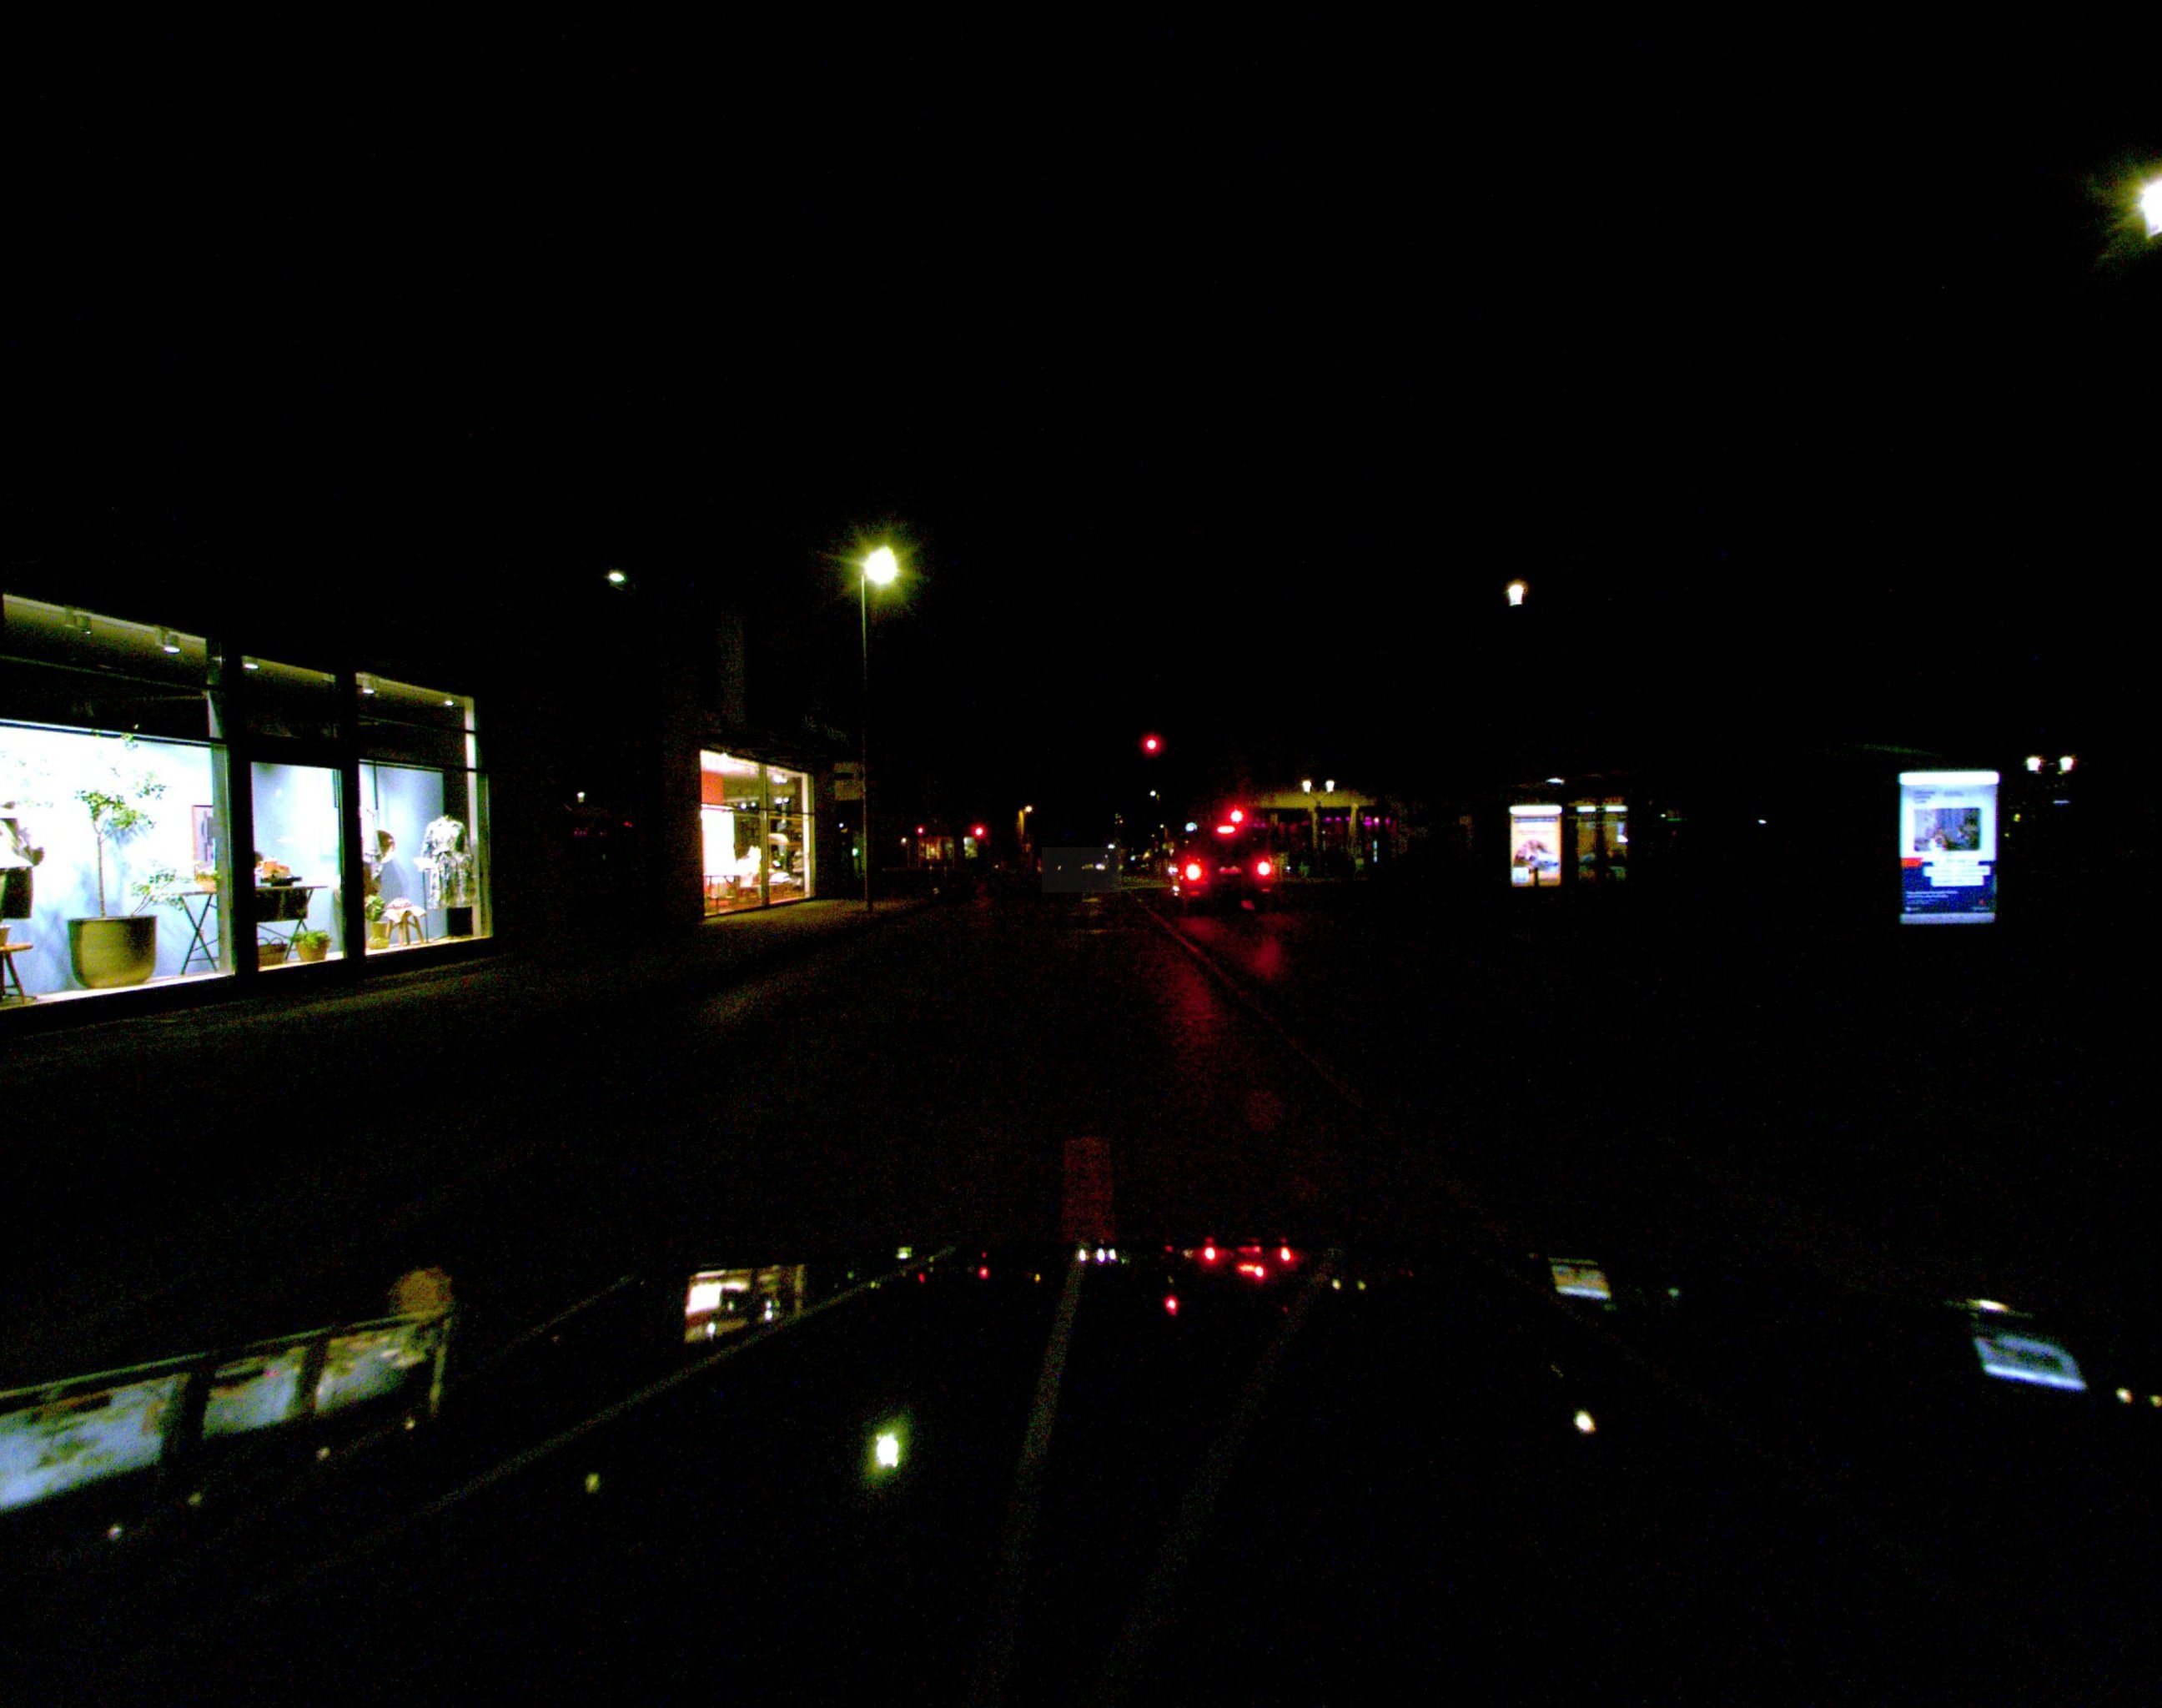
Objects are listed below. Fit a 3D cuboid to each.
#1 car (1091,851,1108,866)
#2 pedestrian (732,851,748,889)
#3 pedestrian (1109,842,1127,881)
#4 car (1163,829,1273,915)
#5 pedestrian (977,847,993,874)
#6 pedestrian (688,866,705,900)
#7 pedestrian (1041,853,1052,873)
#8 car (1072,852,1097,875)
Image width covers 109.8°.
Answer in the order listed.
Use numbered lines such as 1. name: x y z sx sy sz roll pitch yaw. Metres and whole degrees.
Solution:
1. car: 2.209 0.520 90.593 1.879 1.718 3.999 -2 1 1
2. pedestrian: -15.494 0.727 34.494 0.407 1.677 0.487 -2 1 5
3. pedestrian: 1.657 0.337 33.771 0.539 1.672 0.648 -2 1 23
4. car: 3.285 0.376 19.168 1.971 1.861 4.912 -1 1 1
5. pedestrian: -6.312 0.414 50.046 0.877 1.723 0.647 0 1 4
6. pedestrian: -19.763 1.472 39.052 0.524 1.707 0.566 -2 1 0
7. pedestrian: -2.596 0.641 57.516 0.648 1.487 0.828 -1 1 -18
8. car: 0.277 0.704 60.170 1.713 1.660 3.738 -2 1 3
